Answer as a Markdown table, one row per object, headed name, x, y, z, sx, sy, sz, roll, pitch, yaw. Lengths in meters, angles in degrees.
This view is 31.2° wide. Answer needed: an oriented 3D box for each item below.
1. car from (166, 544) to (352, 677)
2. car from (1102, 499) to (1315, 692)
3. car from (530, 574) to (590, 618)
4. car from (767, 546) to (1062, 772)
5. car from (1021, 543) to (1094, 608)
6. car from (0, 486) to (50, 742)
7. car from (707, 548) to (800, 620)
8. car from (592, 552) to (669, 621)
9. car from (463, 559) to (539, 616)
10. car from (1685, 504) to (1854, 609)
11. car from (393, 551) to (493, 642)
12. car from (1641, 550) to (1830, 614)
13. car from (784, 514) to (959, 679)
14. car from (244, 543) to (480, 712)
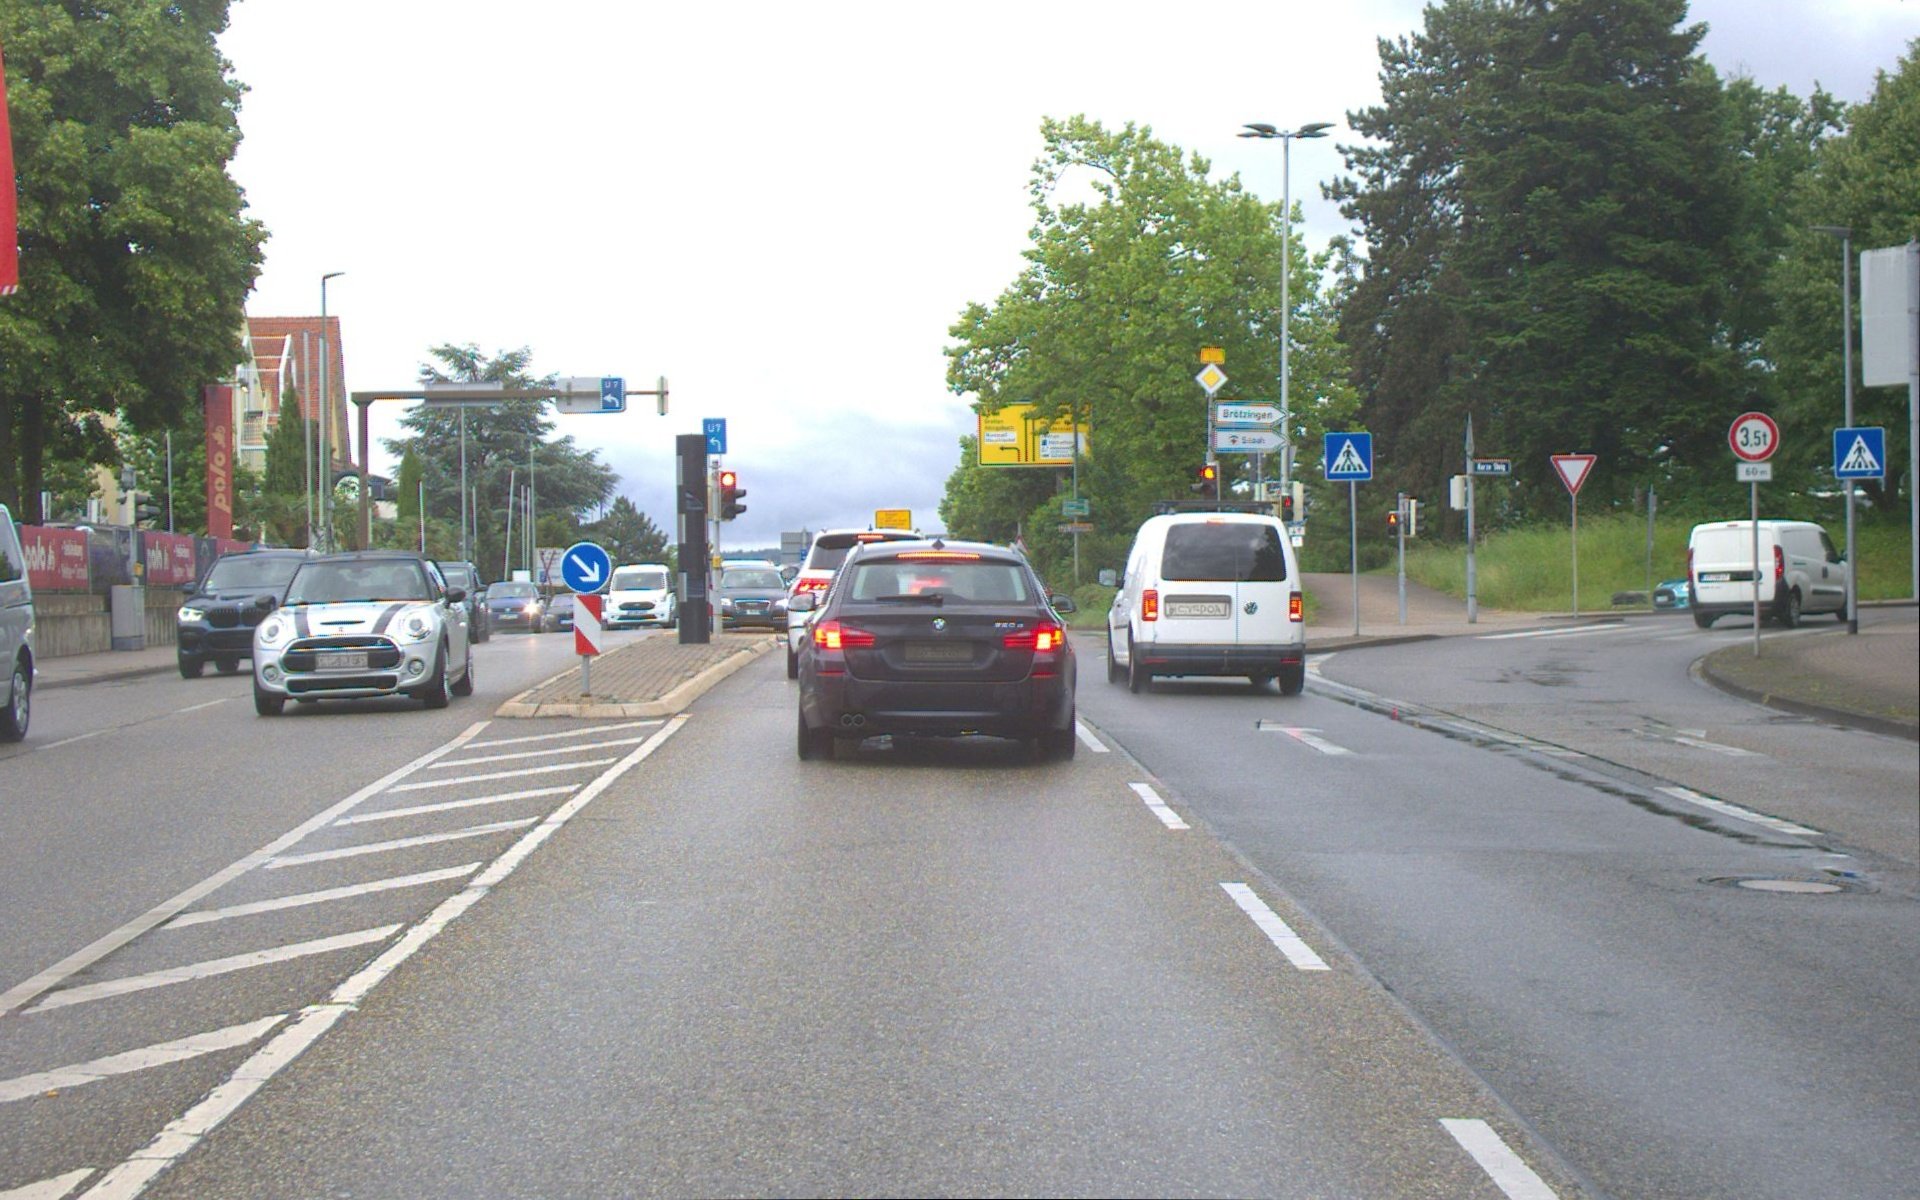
| name | x | y | z | sx | sy | sz | roll | pitch | yaw |
| --- | --- | --- | --- | --- | --- | --- | --- | --- | --- |
| car | -9.483 | 0.098 | 46.821 | 1.751 | 1.605 | 4.533 | -2 | 2 | -3 |
| car | 2.507 | -0.088 | 35.501 | 1.741 | 1.863 | 3.946 | 0 | 1 | -2 |
| car | -13.575 | -0.151 | 116.862 | 1.668 | 1.377 | 4.072 | -1 | 1 | -2 |
| car | -0.243 | 0.342 | 23.785 | 1.855 | 1.414 | 3.957 | 1 | 1 | 1 |
| car | 2.265 | -0.599 | 80.599 | 1.600 | 1.367 | 3.680 | -1 | 2 | 0 |
| car | -8.270 | 0.152 | 25.792 | 1.795 | 1.976 | 4.899 | -2 | 1 | -4 |
| car | -4.431 | -0.347 | 73.449 | 1.894 | 1.451 | 4.098 | -1 | 0 | -4 |
| car | -9.264 | -0.404 | 96.907 | 1.857 | 1.817 | 4.580 | -3 | 1 | -3 |
| car | -12.325 | -0.361 | 92.526 | 1.634 | 1.377 | 3.766 | -2 | 2 | -2 |
| car | 14.168 | -0.782 | 60.046 | 1.817 | 1.702 | 3.939 | 0 | 3 | 30 |
| car | -10.242 | -0.089 | 68.337 | 1.756 | 1.671 | 4.149 | -2 | 1 | -6 |
| car | 17.957 | -0.436 | 79.627 | 3.986 | 1.289 | 1.609 | -3 | 2 | -19 |
| car | -0.949 | -0.078 | 38.402 | 1.728 | 1.705 | 3.382 | 1 | 2 | 2 |
| car | -5.485 | 0.205 | 31.924 | 1.667 | 1.393 | 4.001 | -2 | 1 | -3 |
